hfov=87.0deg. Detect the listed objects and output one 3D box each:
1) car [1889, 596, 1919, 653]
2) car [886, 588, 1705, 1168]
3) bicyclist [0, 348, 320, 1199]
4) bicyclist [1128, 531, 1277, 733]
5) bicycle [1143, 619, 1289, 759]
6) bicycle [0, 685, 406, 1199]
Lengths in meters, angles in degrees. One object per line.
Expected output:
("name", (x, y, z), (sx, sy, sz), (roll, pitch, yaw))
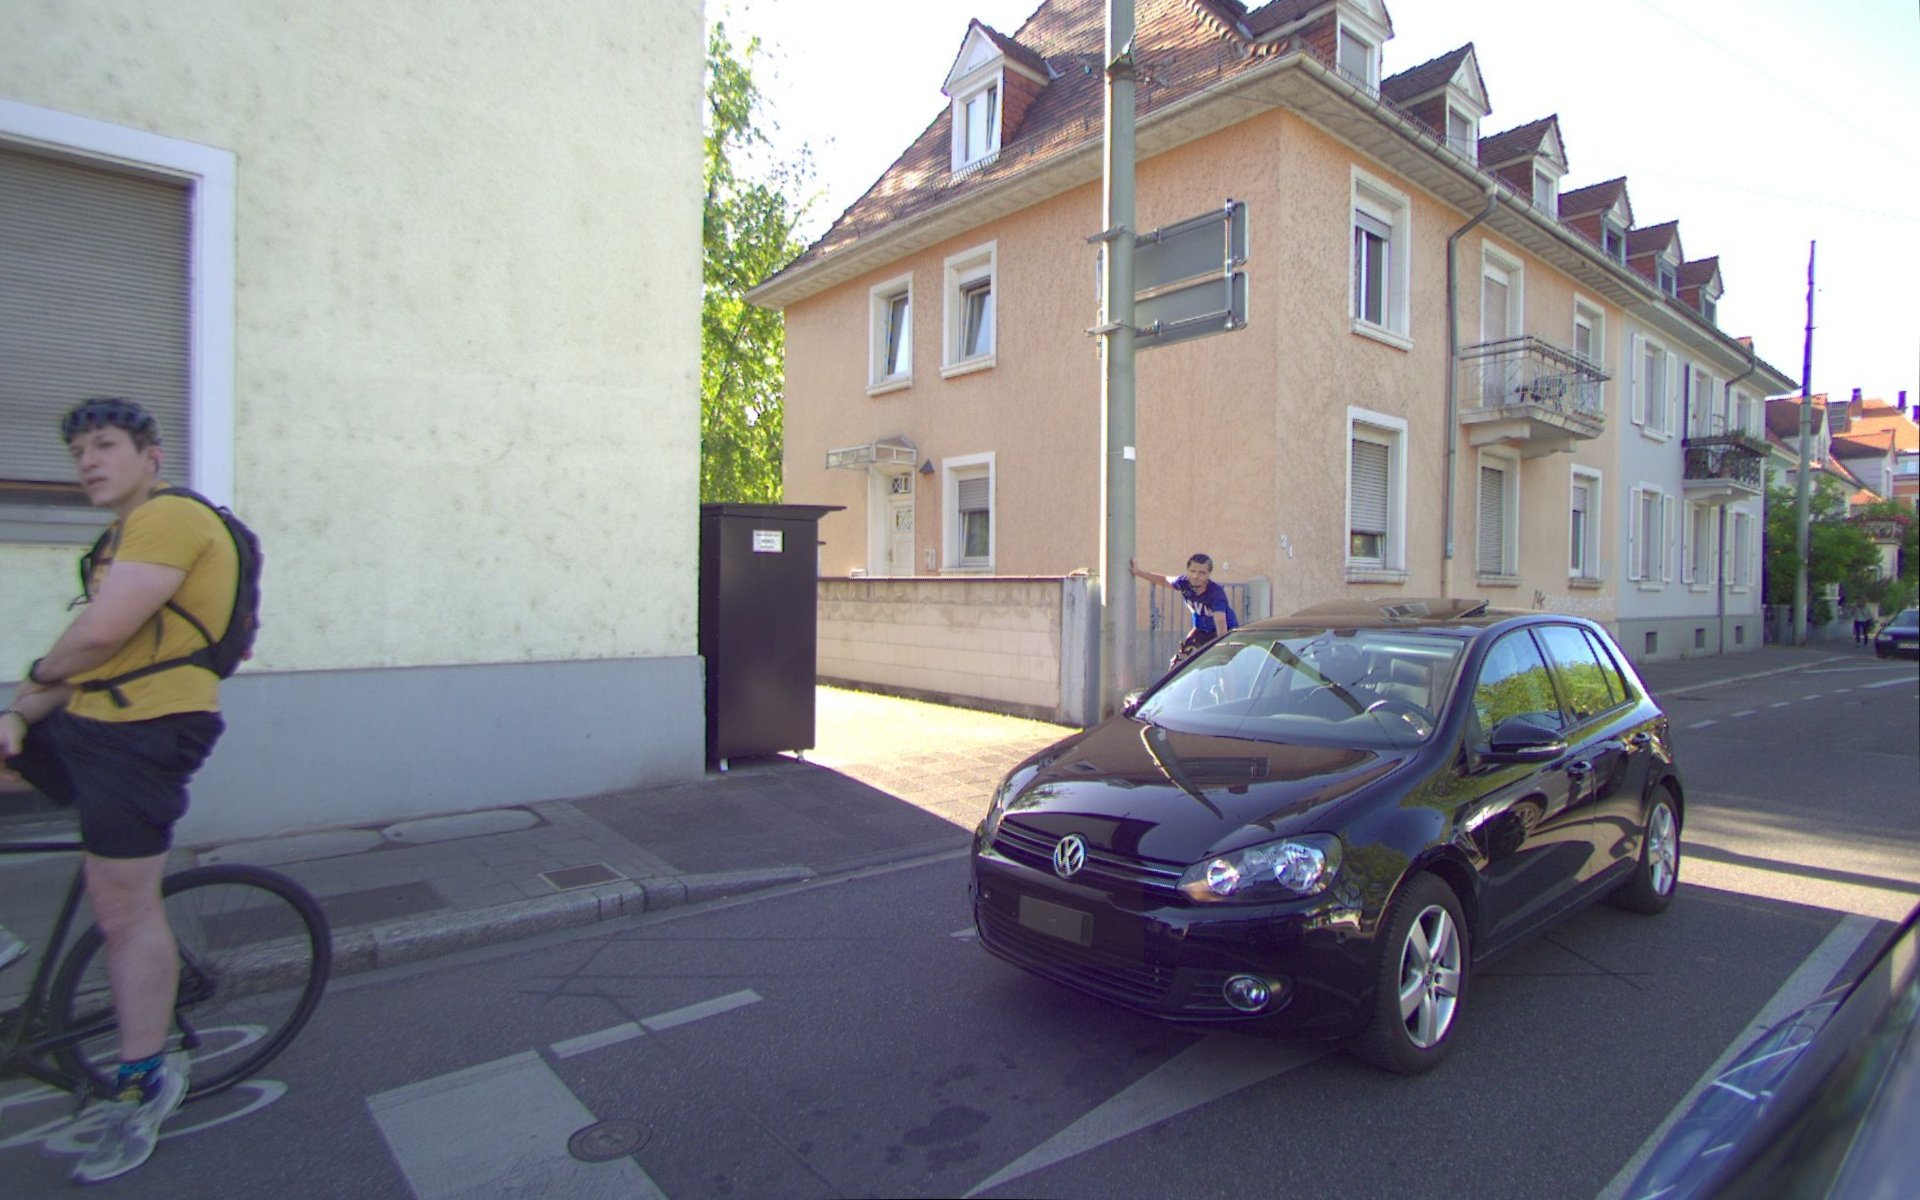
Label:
("car", (26.768, 0.628, 27.442), (4.258, 1.448, 1.824), (-1, 0, -40))
("car", (1.749, 0.686, 4.507), (3.921, 1.456, 1.716), (-1, 0, -41))
("bicyclist", (-2.323, 0.424, 2.733), (0.777, 1.991, 0.768), (0, 0, 36))
("bicyclist", (2.228, 0.256, 9.347), (1.018, 1.714, 0.718), (6, 4, 42))
("bicycle", (2.363, 0.761, 9.226), (0.554, 1.088, 1.601), (6, 4, 42))
("bicycle", (-2.494, 0.862, 2.598), (0.777, 1.120, 1.720), (0, 0, 36))
